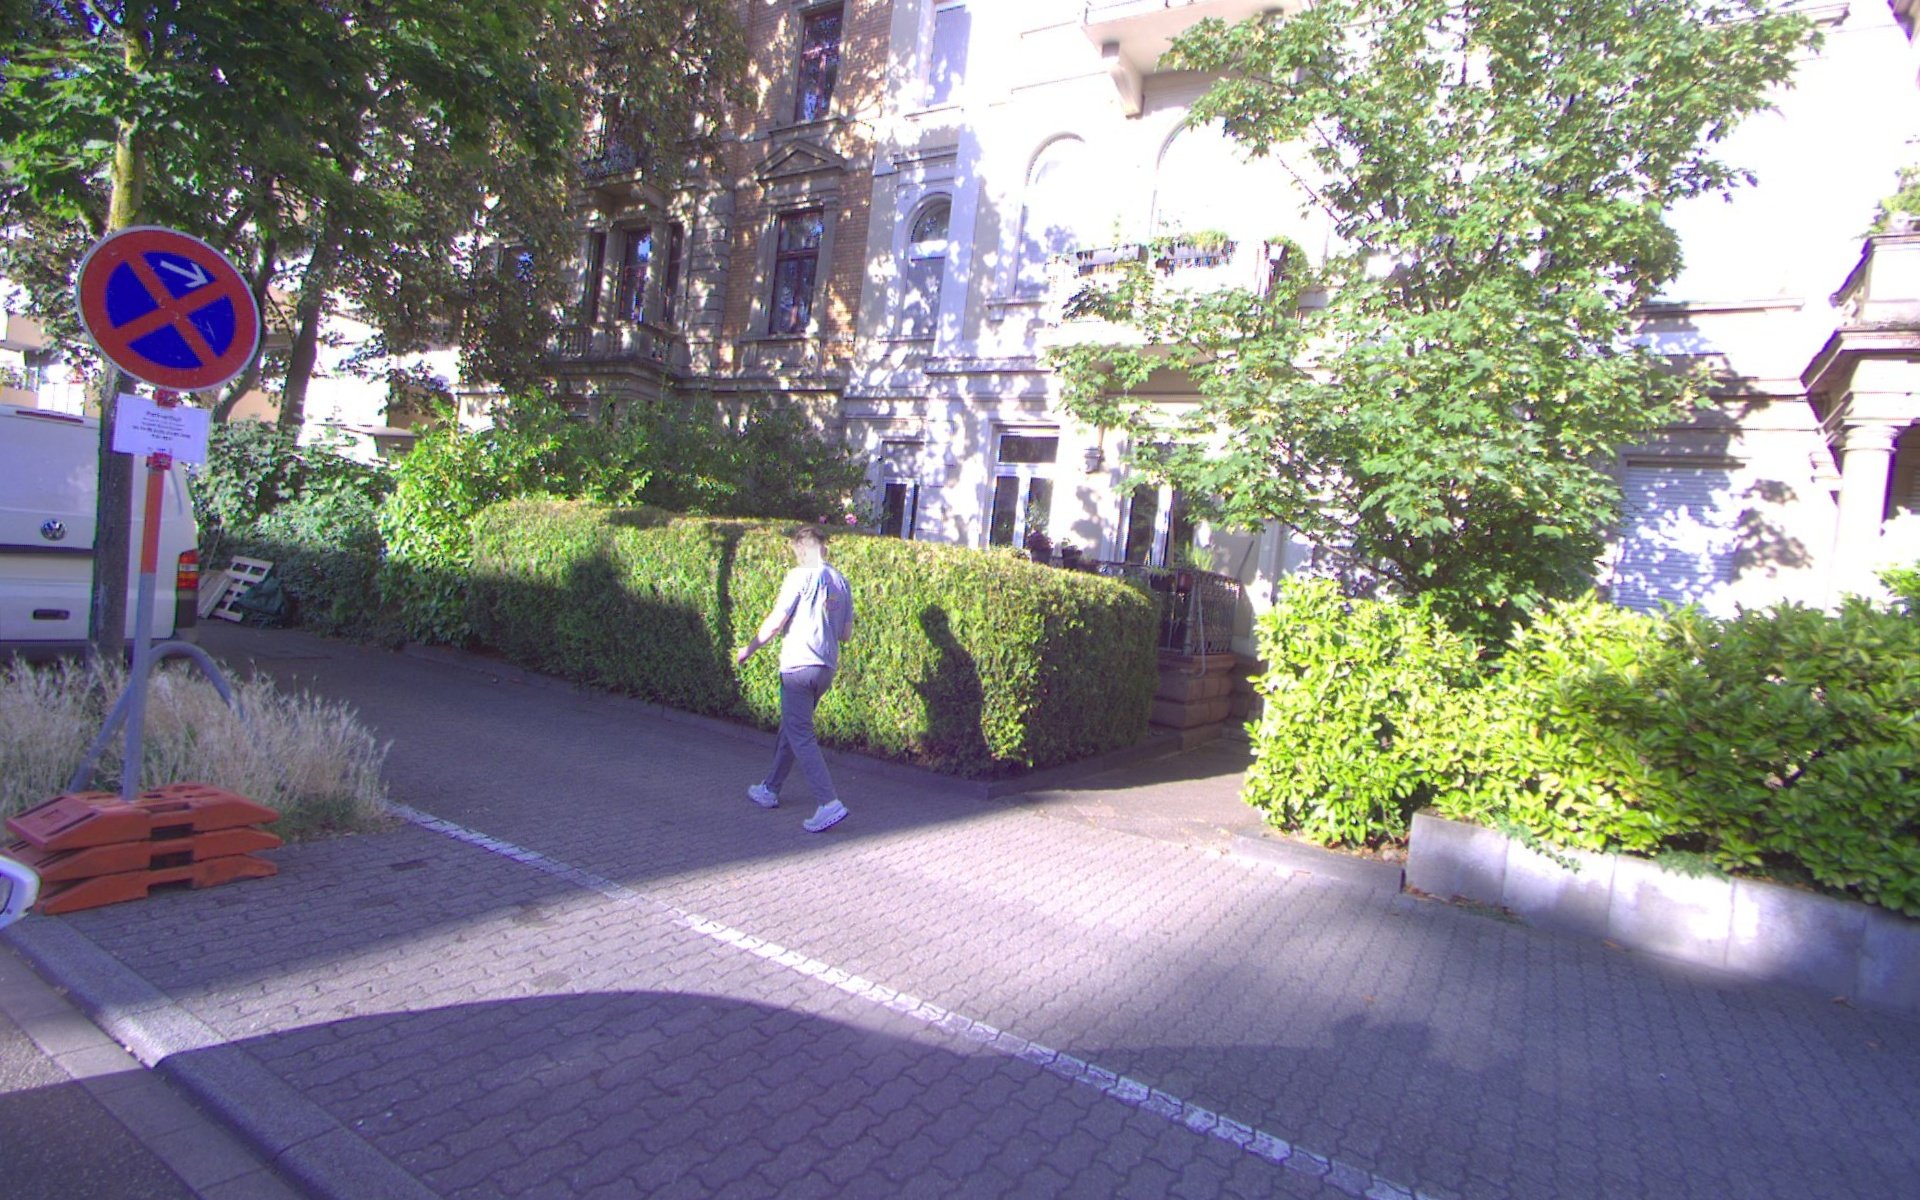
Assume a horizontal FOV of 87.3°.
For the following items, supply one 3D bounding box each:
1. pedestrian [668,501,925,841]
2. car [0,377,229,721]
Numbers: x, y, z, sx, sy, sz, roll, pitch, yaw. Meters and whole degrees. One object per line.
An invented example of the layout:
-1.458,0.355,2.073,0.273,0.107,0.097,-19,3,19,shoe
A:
-0.975,0.391,6.079,1.070,1.796,0.822,7,1,28,pedestrian
-7.806,-0.521,7.587,4.562,2.129,1.906,7,0,30,car
